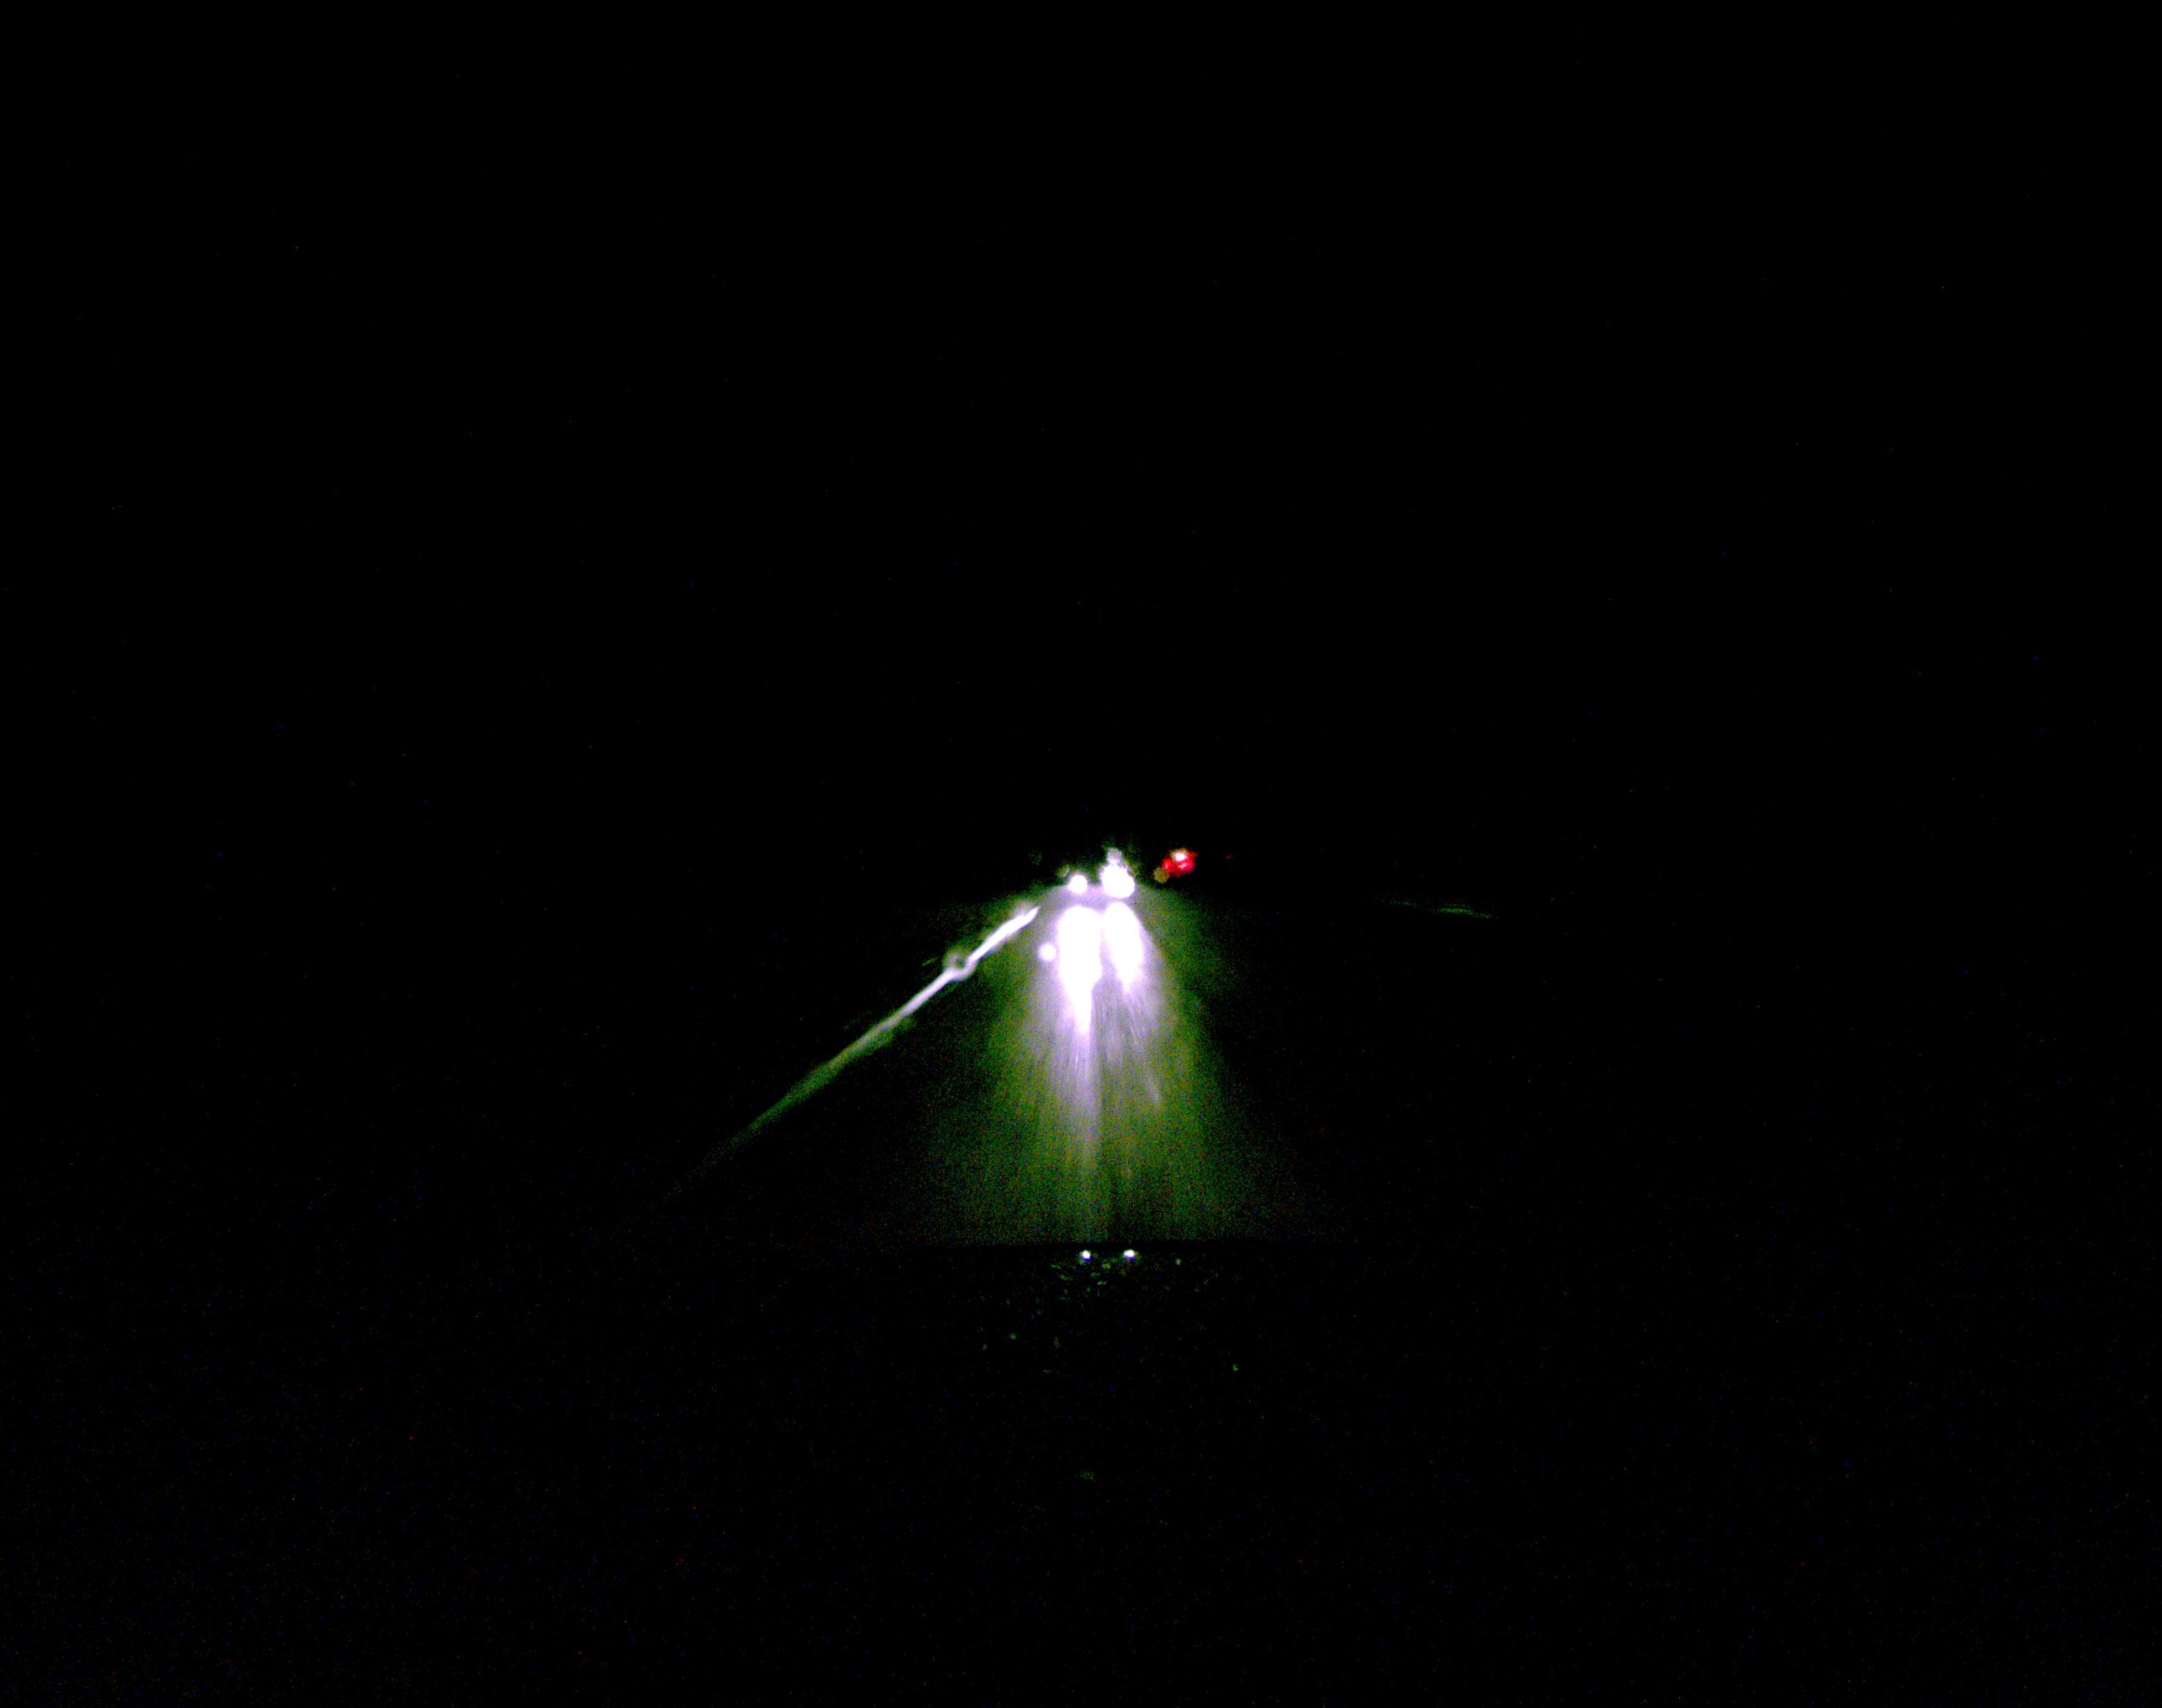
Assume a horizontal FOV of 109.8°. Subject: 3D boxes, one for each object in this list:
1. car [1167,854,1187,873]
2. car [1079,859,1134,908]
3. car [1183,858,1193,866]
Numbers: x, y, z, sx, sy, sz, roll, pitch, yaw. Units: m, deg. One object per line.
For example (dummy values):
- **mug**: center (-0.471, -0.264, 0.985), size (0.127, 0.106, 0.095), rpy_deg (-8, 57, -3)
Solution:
- **car**: center (8.084, 0.823, 64.107), size (1.566, 1.516, 3.488), rpy_deg (1, 0, 6)
- **car**: center (0.847, 0.982, 27.131), size (1.745, 1.501, 3.599), rpy_deg (-3, 1, -1)
- **car**: center (19.461, 1.459, 138.365), size (1.597, 1.501, 3.603), rpy_deg (1, -1, 9)
